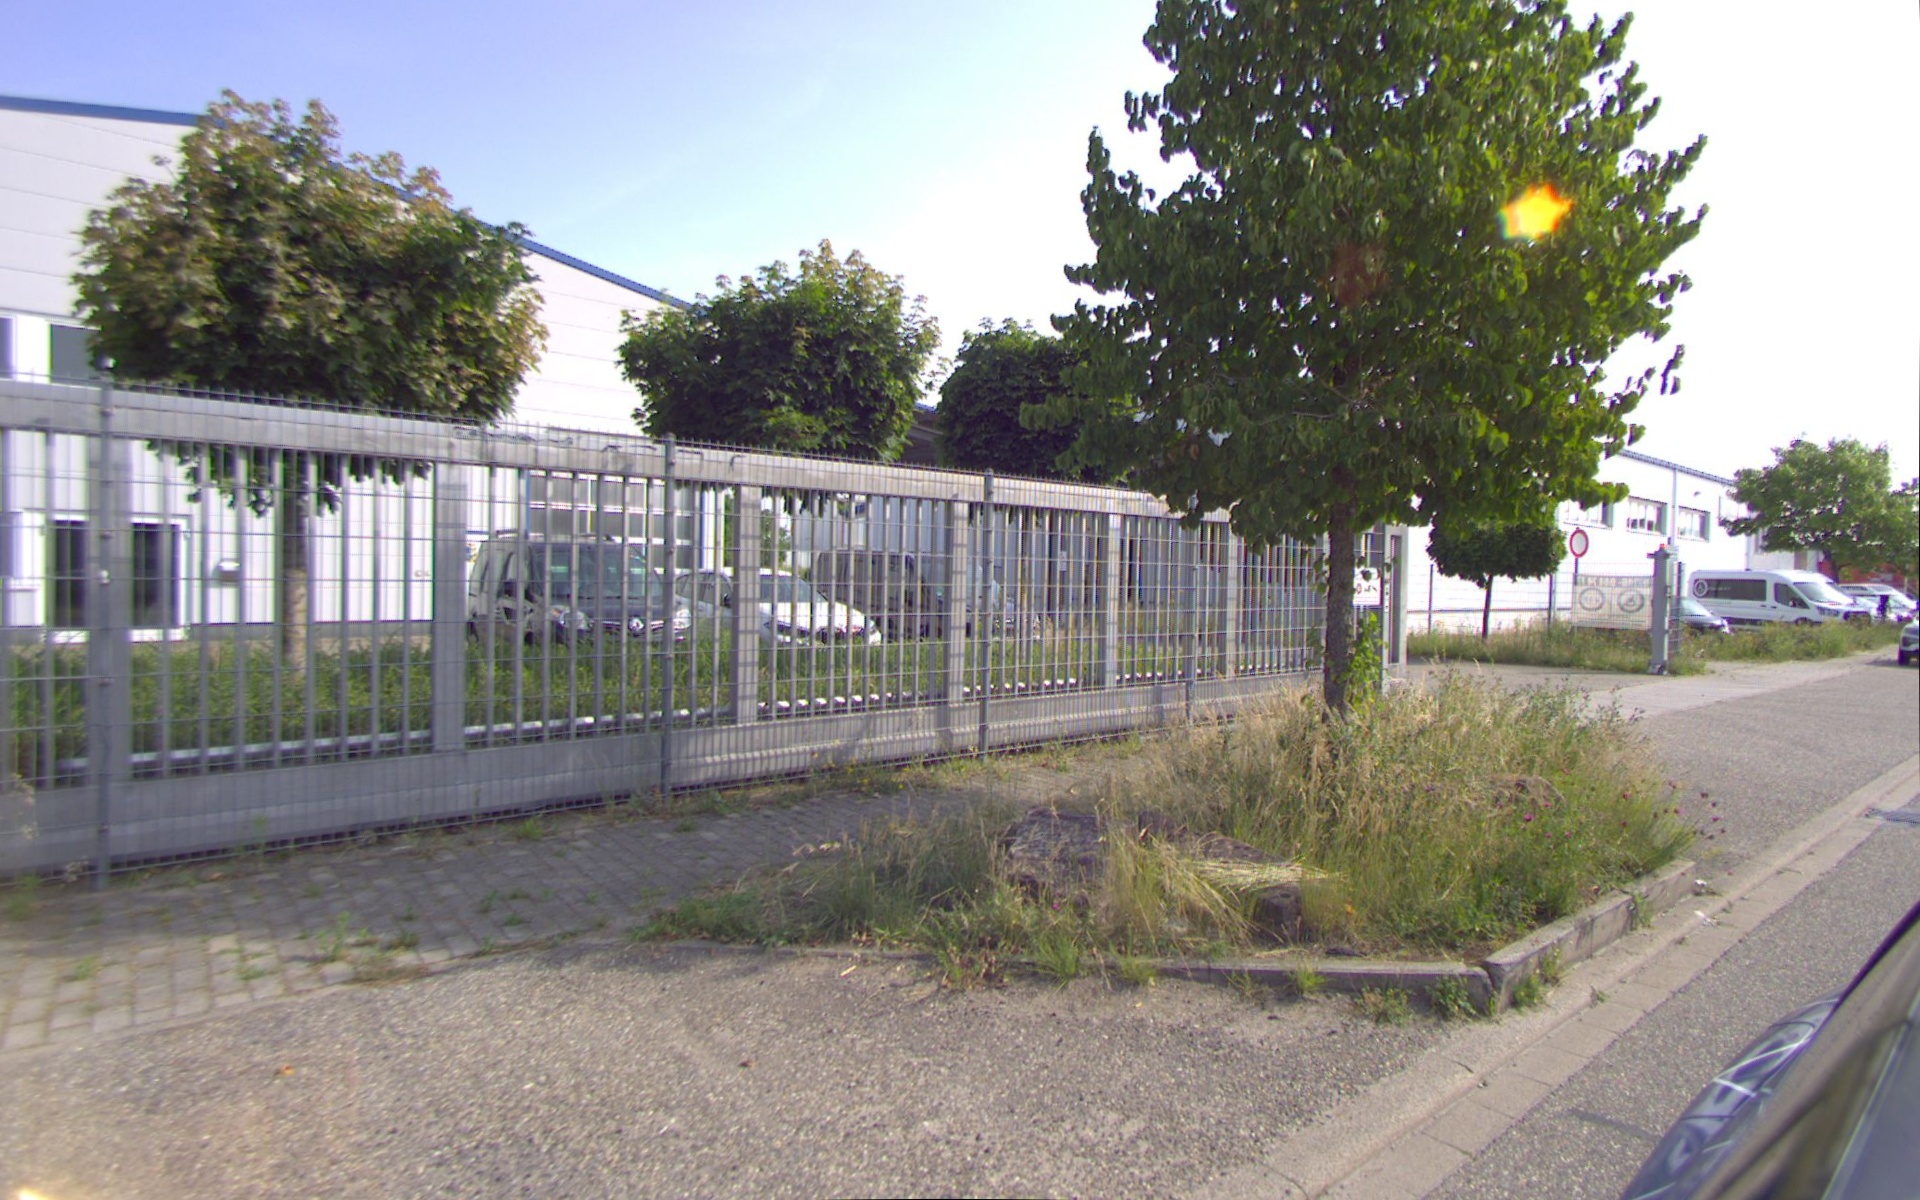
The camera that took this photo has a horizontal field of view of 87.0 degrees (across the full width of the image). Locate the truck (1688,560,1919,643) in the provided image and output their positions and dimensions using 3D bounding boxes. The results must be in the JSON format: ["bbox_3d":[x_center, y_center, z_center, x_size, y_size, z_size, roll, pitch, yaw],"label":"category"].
[{"bbox_3d":[28.791,-0.071,34.946,2.229,2.561,6.222,1,2,-7],"label":"truck"}]

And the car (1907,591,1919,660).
[{"bbox_3d":[23.194,0.617,23.251,3.479,1.522,1.668,0,4,-41],"label":"car"}]

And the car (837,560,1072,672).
[{"bbox_3d":[-0.224,0.150,15.569,1.621,1.479,4.021,0,2,-35],"label":"car"}]

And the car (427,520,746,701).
[{"bbox_3d":[-4.605,0.025,12.080,1.967,1.743,4.490,0,2,-43],"label":"car"}]

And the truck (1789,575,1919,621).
[{"bbox_3d":[44.257,-0.148,49.583,2.231,2.046,5.836,1,1,-3],"label":"truck"}]

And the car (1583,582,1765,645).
[{"bbox_3d":[19.199,0.314,27.471,1.860,1.516,4.004,1,1,-4],"label":"car"}]

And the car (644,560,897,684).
[{"bbox_3d":[-2.778,0.196,14.181,1.722,1.479,4.015,0,2,-41],"label":"car"}]
